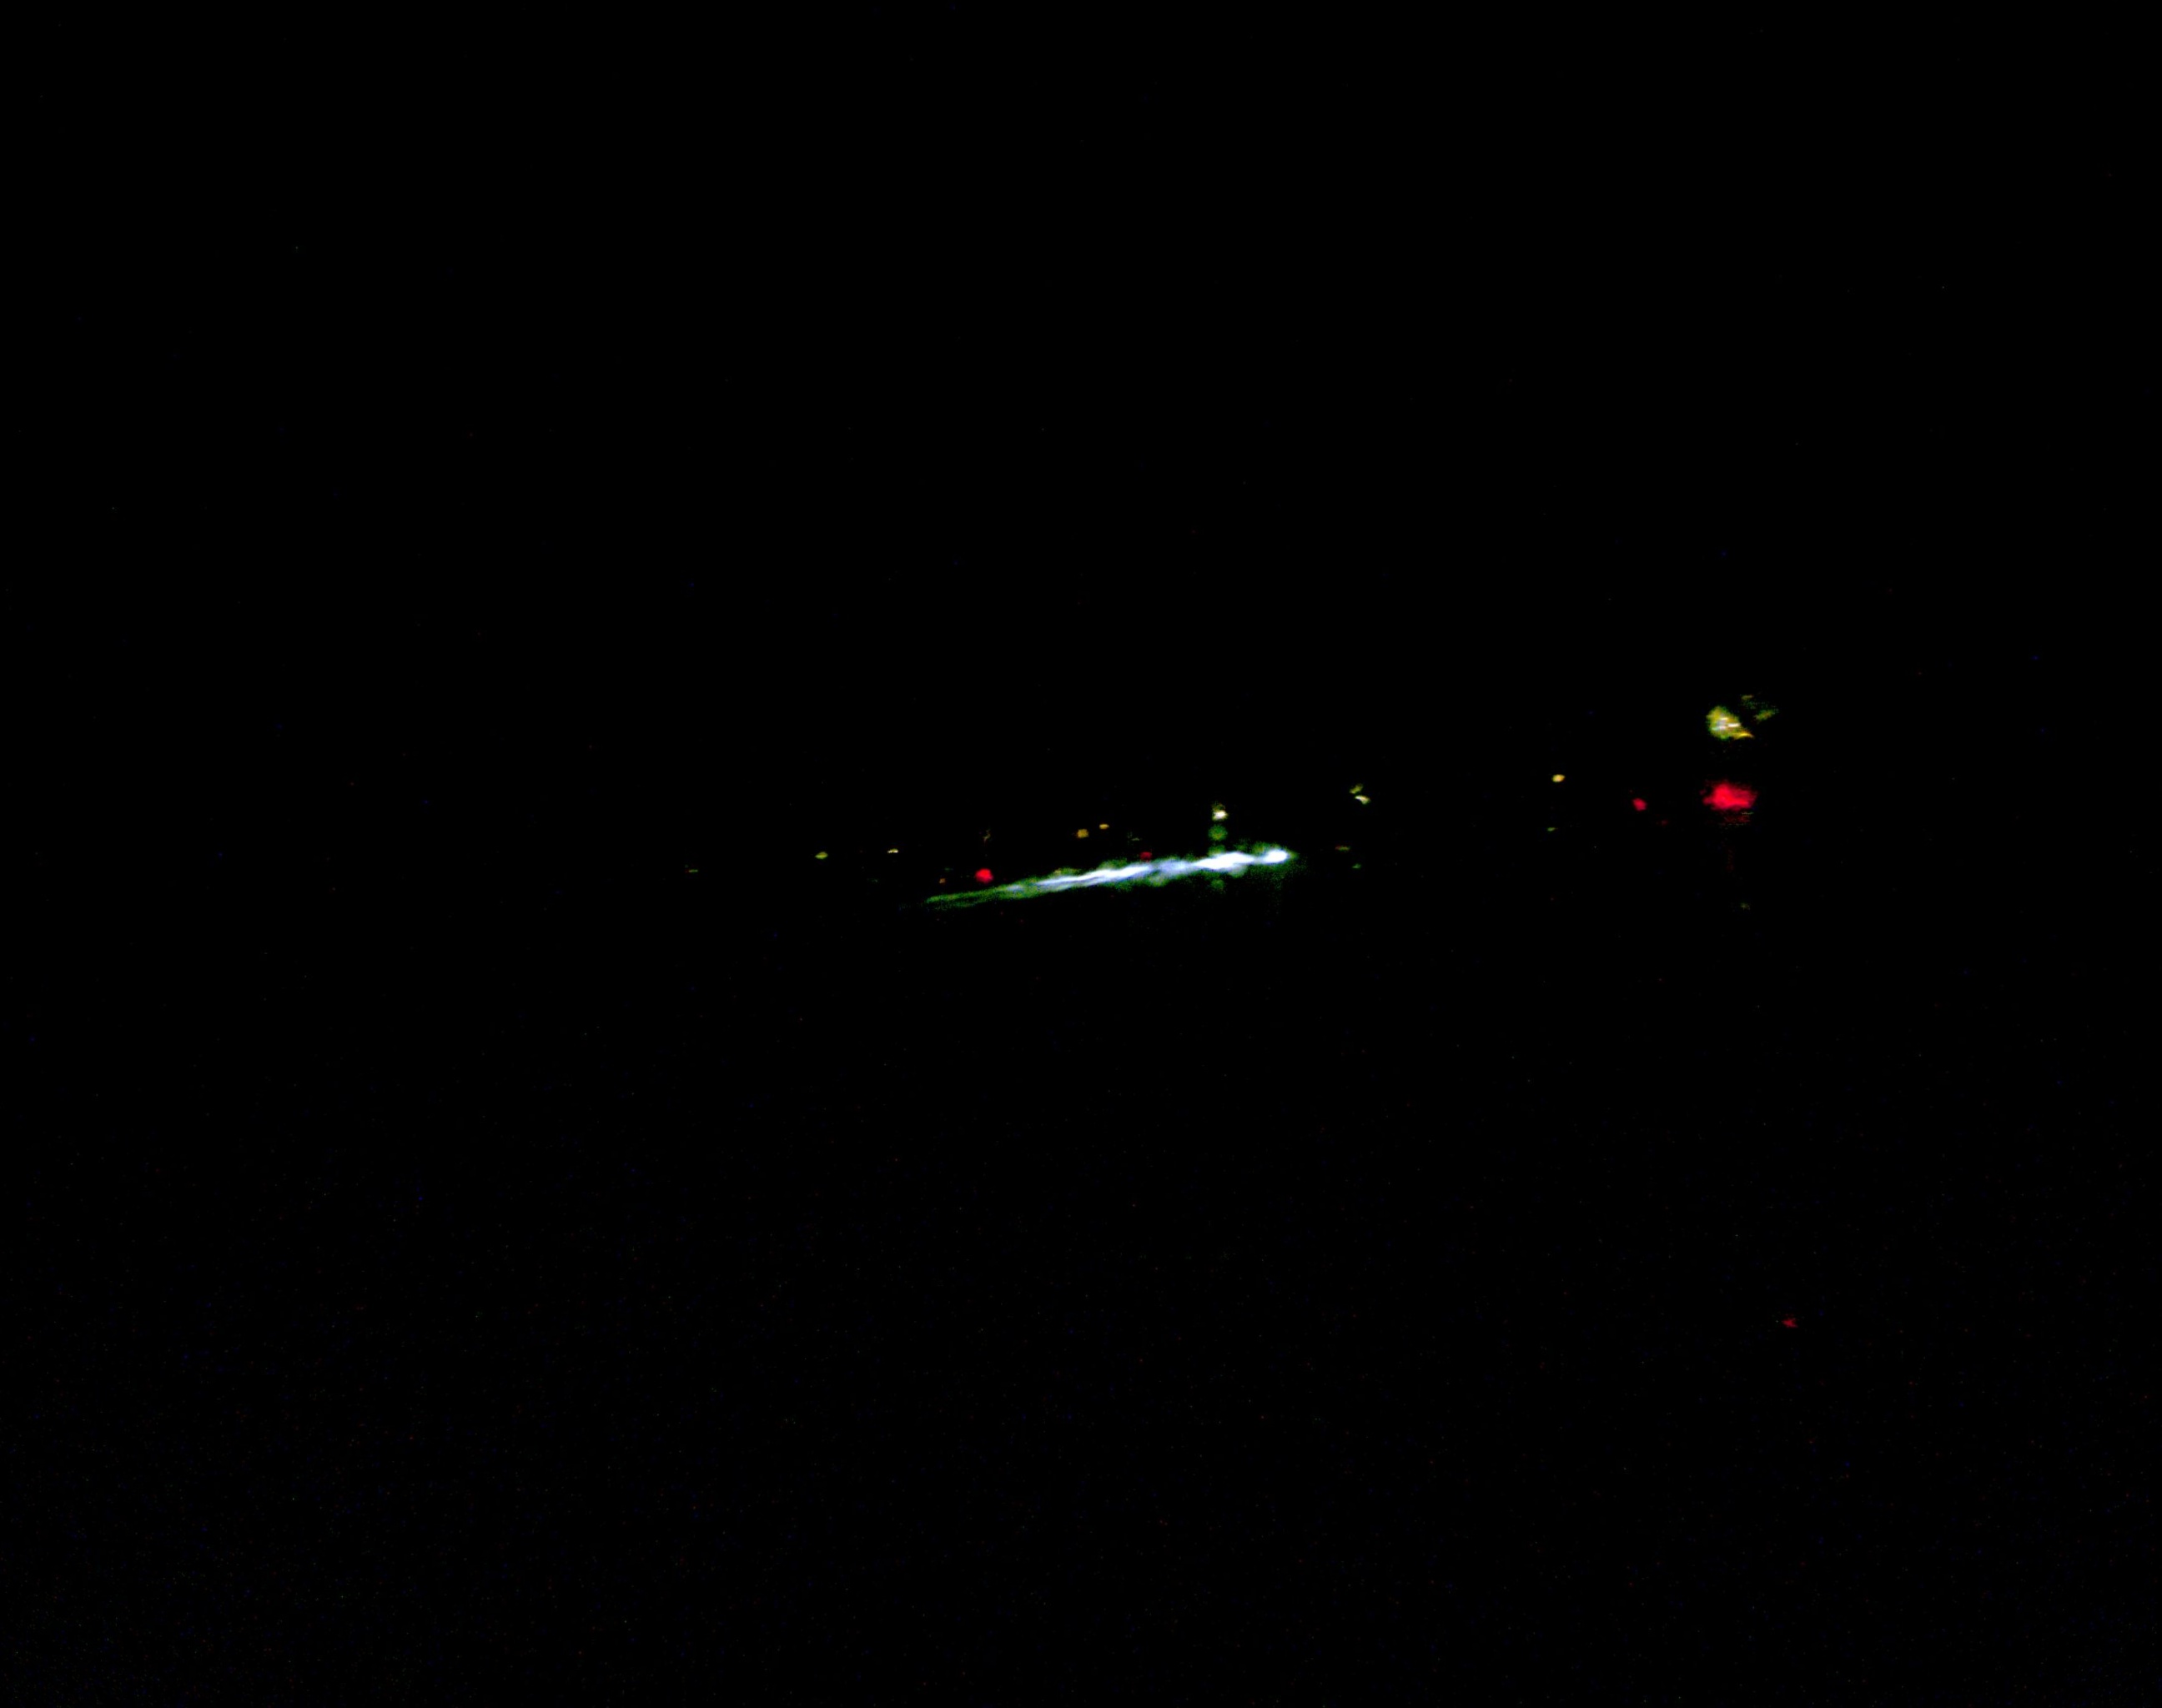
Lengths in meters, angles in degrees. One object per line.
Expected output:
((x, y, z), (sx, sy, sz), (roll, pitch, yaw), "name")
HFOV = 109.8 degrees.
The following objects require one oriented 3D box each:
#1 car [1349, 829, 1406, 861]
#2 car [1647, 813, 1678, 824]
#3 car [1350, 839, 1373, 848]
((18.804, -0.605, 48.069), (1.995, 1.737, 4.107), (-5, 0, 41), "car")
((100.327, -6.092, 131.149), (3.991, 1.432, 1.722), (-5, -2, 26), "car")
((54.844, -2.030, 148.681), (3.991, 1.432, 1.721), (-5, -1, 25), "car")
